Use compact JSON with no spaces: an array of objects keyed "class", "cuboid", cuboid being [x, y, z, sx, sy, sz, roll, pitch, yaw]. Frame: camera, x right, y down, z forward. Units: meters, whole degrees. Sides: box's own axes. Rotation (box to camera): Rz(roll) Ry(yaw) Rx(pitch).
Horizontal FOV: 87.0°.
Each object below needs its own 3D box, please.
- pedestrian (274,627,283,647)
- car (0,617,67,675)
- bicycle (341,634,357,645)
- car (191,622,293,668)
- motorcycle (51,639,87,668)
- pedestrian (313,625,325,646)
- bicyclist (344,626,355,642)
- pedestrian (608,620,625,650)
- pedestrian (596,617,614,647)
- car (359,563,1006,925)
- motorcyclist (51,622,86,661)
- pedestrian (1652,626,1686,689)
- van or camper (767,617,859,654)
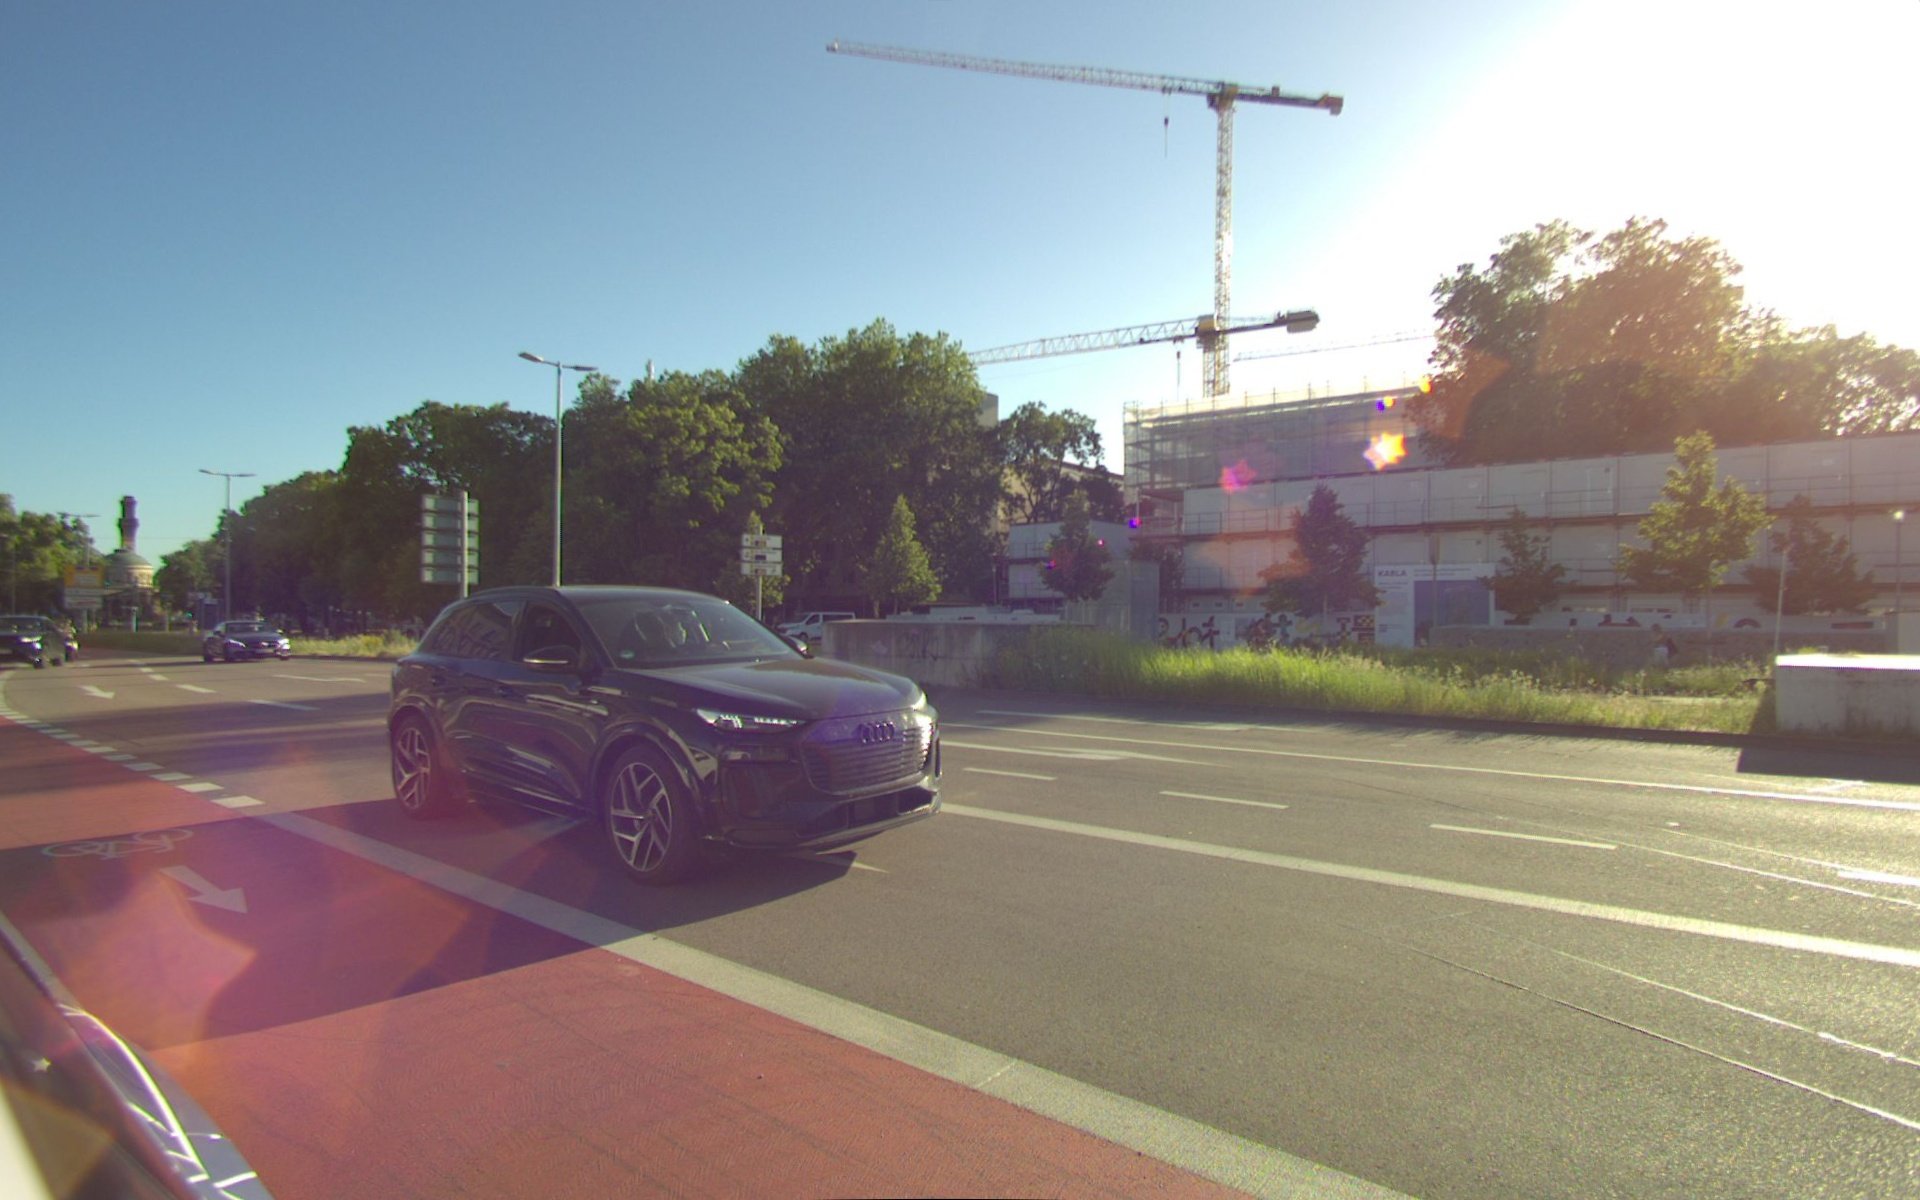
[{"class":"pedestrian","cuboid":[-66.248,3.588,98.356,0.733,1.862,0.561,-1,-2,40]},{"class":"car","cuboid":[-29.785,1.416,31.837,1.967,1.732,4.337,1,-2,-34]},{"class":"bicycle","cuboid":[-51.393,3.313,85.123,1.744,0.849,0.602,-1,-2,40]},{"class":"car","cuboid":[-24.650,1.494,34.692,4.488,1.417,1.972,-1,0,43]},{"class":"motorcycle","cuboid":[-34.316,2.030,38.982,0.960,1.022,2.271,-1,-1,-40]},{"class":"pedestrian","cuboid":[-57.138,3.133,90.244,0.924,1.862,0.620,-1,-2,40]},{"class":"bicyclist","cuboid":[-51.379,2.866,85.172,0.714,1.291,0.603,-1,-2,40]},{"class":"pedestrian","cuboid":[-20.147,2.026,59.313,0.762,1.738,0.656,-1,-2,41]},{"class":"pedestrian","cuboid":[-20.506,1.829,58.483,0.762,1.738,0.698,-2,-2,41]},{"class":"car","cuboid":[-2.106,0.705,6.848,4.612,1.656,1.913,-1,-1,39]},{"class":"motorcyclist","cuboid":[-34.324,1.582,38.983,0.960,1.424,1.060,-1,-1,-40]},{"class":"pedestrian","cuboid":[18.910,1.515,26.996,0.626,1.665,0.930,-1,-2,41]},{"class":"van or camper","cuboid":[-8.931,2.112,61.944,1.948,2.029,5.576,-1,0,42]}]
